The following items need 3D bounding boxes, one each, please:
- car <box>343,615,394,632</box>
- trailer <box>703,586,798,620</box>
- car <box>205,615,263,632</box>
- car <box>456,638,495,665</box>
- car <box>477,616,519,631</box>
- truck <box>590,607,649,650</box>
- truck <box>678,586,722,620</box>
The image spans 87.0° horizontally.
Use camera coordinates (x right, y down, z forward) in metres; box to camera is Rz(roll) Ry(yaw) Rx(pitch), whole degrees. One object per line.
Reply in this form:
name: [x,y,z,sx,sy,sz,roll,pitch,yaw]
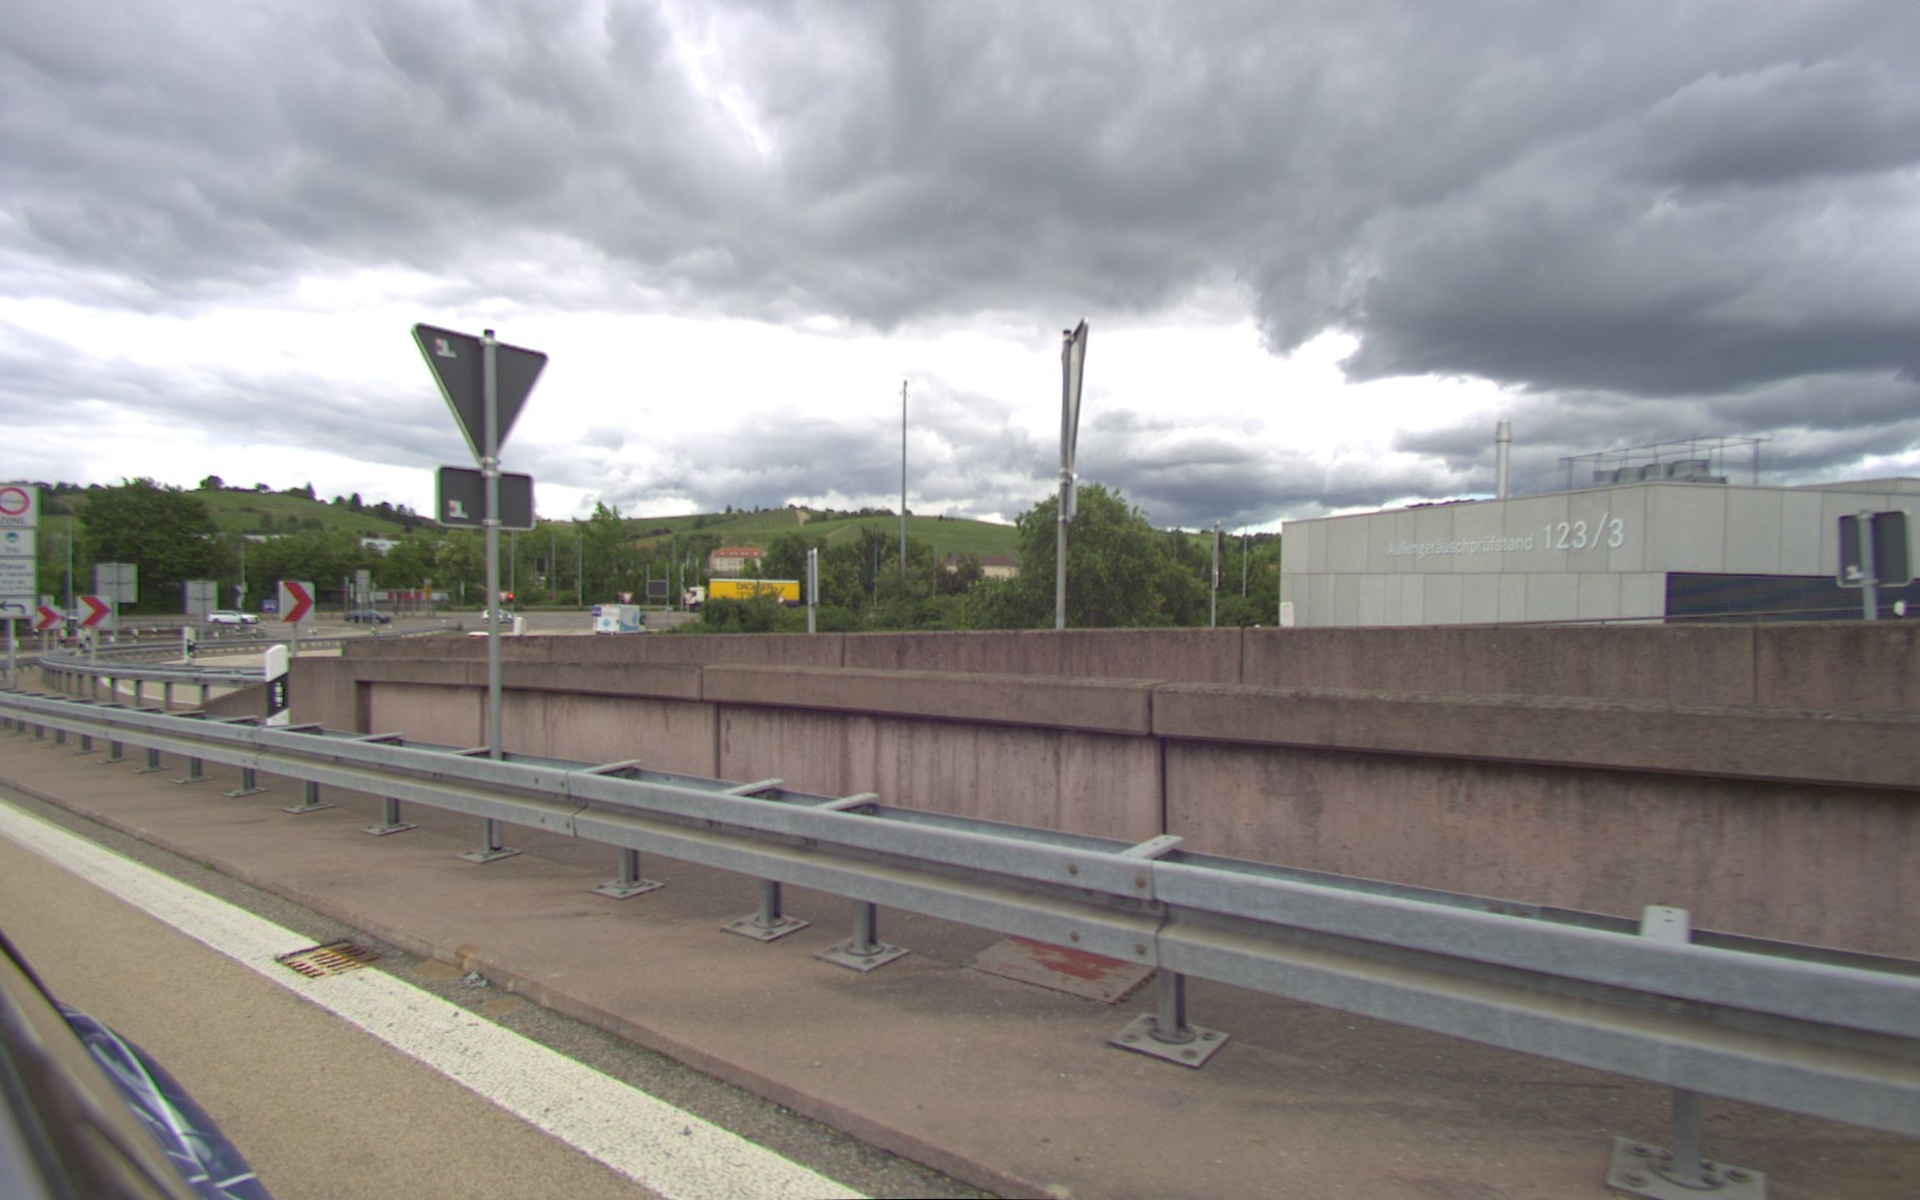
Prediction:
car: [-62.811,2.474,107.534,4.229,1.568,1.951,-1,2,-5]
trailer: [-26.270,0.357,127.457,11.482,4.235,2.638,0,1,-4]
car: [-76.830,2.444,107.123,4.643,1.572,1.880,-1,2,-5]
car: [-27.385,2.895,57.129,1.884,1.425,4.379,3,-3,-26]
car: [-49.373,2.501,108.230,3.693,1.384,1.630,-1,2,-4]
truck: [-28.403,2.334,84.675,2.320,3.288,6.992,2,-1,1]
truck: [-32.612,0.331,127.075,5.026,4.235,2.638,0,1,-4]
